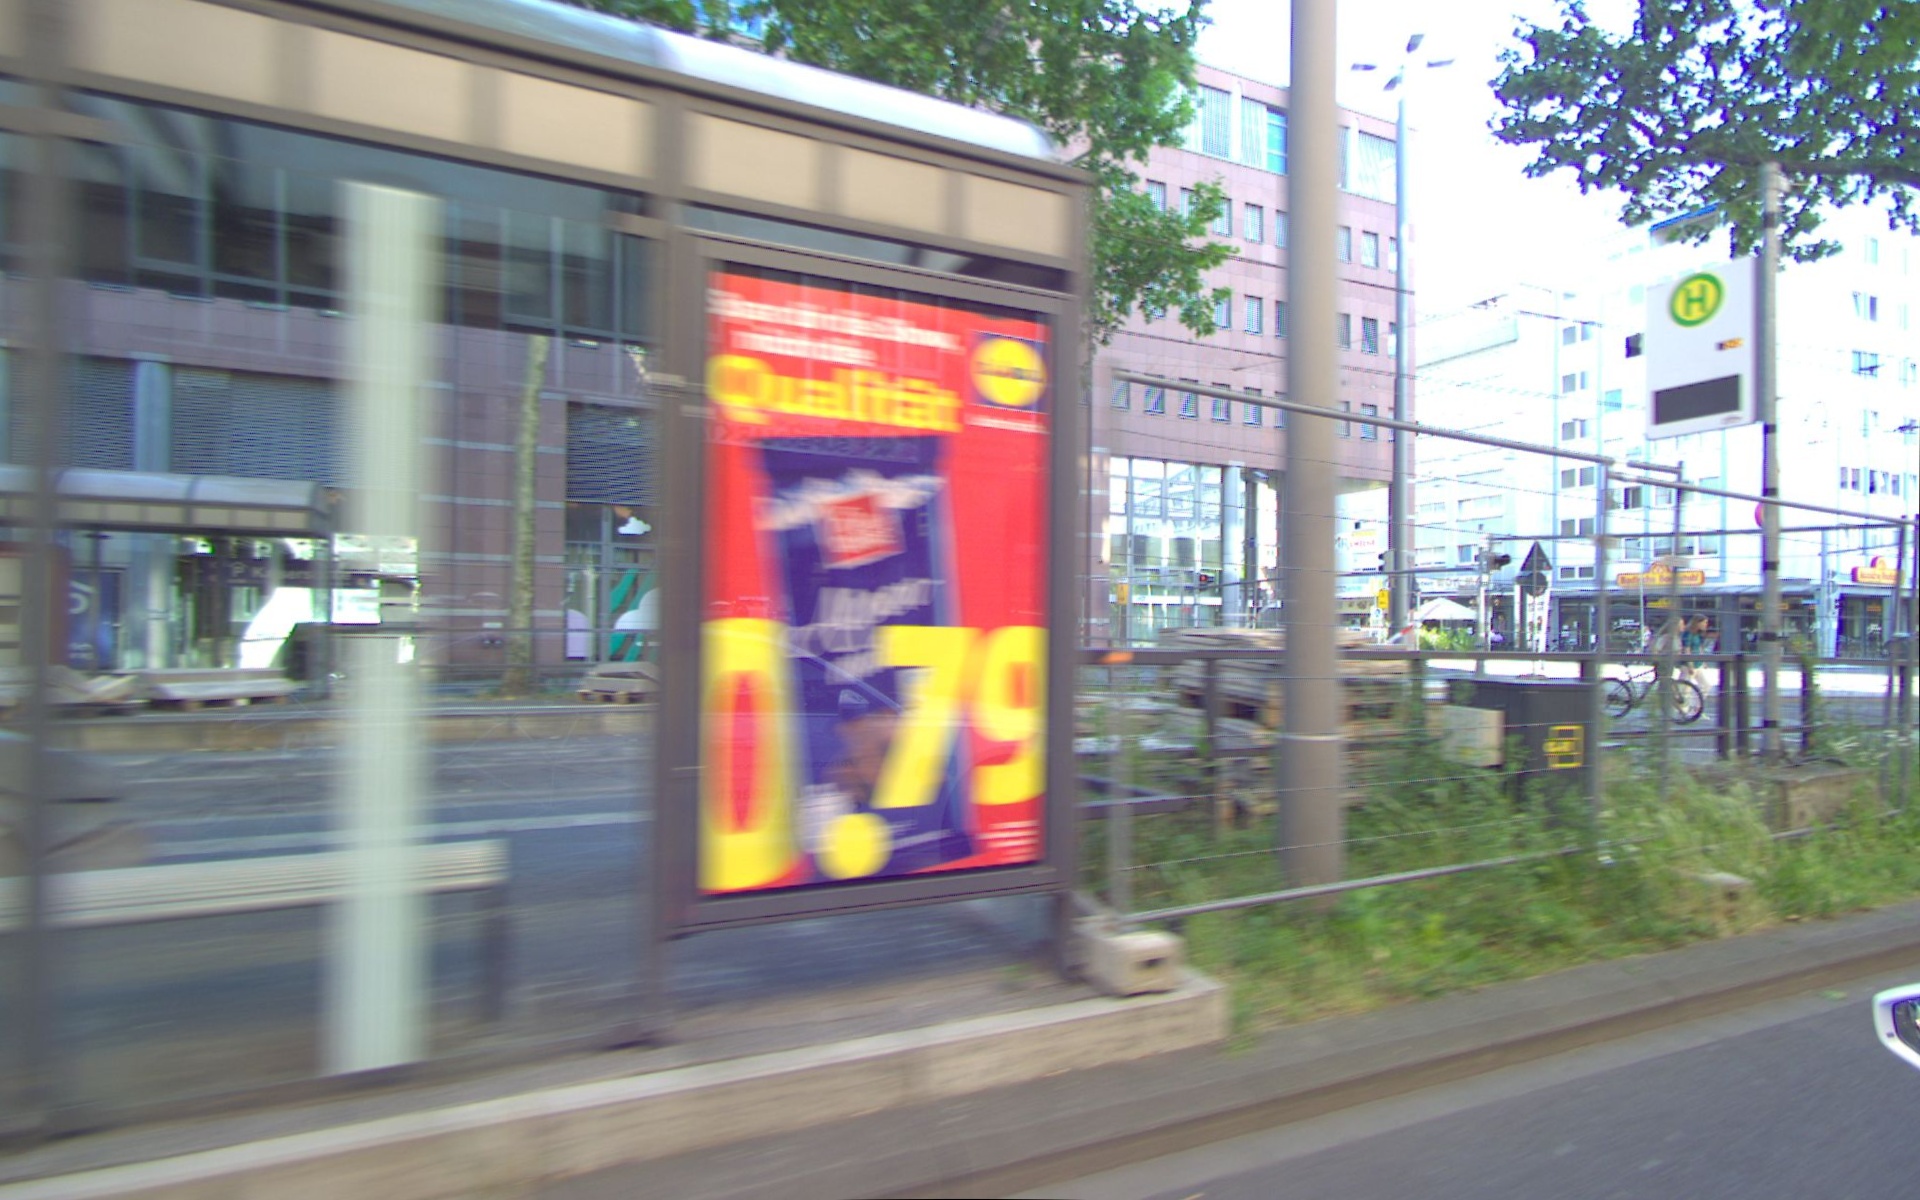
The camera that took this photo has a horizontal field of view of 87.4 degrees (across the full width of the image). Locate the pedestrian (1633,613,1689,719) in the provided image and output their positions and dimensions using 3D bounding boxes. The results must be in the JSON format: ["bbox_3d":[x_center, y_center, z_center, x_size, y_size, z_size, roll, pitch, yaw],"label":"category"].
[{"bbox_3d":[11.480,1.063,16.446,0.523,1.702,0.565,1,-1,-23],"label":"pedestrian"}]

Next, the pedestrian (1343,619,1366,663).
[{"bbox_3d":[14.963,1.535,38.121,0.708,1.640,0.642,1,-1,11],"label":"pedestrian"}]

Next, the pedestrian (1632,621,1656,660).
[{"bbox_3d":[32.050,1.887,47.086,0.774,1.815,0.627,1,-1,-23],"label":"pedestrian"}]

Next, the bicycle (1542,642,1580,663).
[{"bbox_3d":[31.326,2.719,52.361,1.976,1.067,0.594,1,-1,-21],"label":"bicycle"}]

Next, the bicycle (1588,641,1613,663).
[{"bbox_3d":[32.215,2.589,50.525,1.992,1.067,0.589,1,-1,-43],"label":"bicycle"}]

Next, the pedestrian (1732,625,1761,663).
[{"bbox_3d":[37.412,2.093,47.774,0.765,1.747,0.803,2,-1,-24],"label":"pedestrian"}]

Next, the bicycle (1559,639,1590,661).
[{"bbox_3d":[31.343,2.548,51.216,1.985,1.067,0.591,1,-1,-34],"label":"bicycle"}]

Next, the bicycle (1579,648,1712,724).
[{"bbox_3d":[11.017,1.357,16.216,0.474,1.093,1.825,1,-1,-23],"label":"bicycle"}]

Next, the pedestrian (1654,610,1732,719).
[{"bbox_3d":[12.230,1.052,16.767,0.838,1.757,0.774,1,-1,-27],"label":"pedestrian"}]
